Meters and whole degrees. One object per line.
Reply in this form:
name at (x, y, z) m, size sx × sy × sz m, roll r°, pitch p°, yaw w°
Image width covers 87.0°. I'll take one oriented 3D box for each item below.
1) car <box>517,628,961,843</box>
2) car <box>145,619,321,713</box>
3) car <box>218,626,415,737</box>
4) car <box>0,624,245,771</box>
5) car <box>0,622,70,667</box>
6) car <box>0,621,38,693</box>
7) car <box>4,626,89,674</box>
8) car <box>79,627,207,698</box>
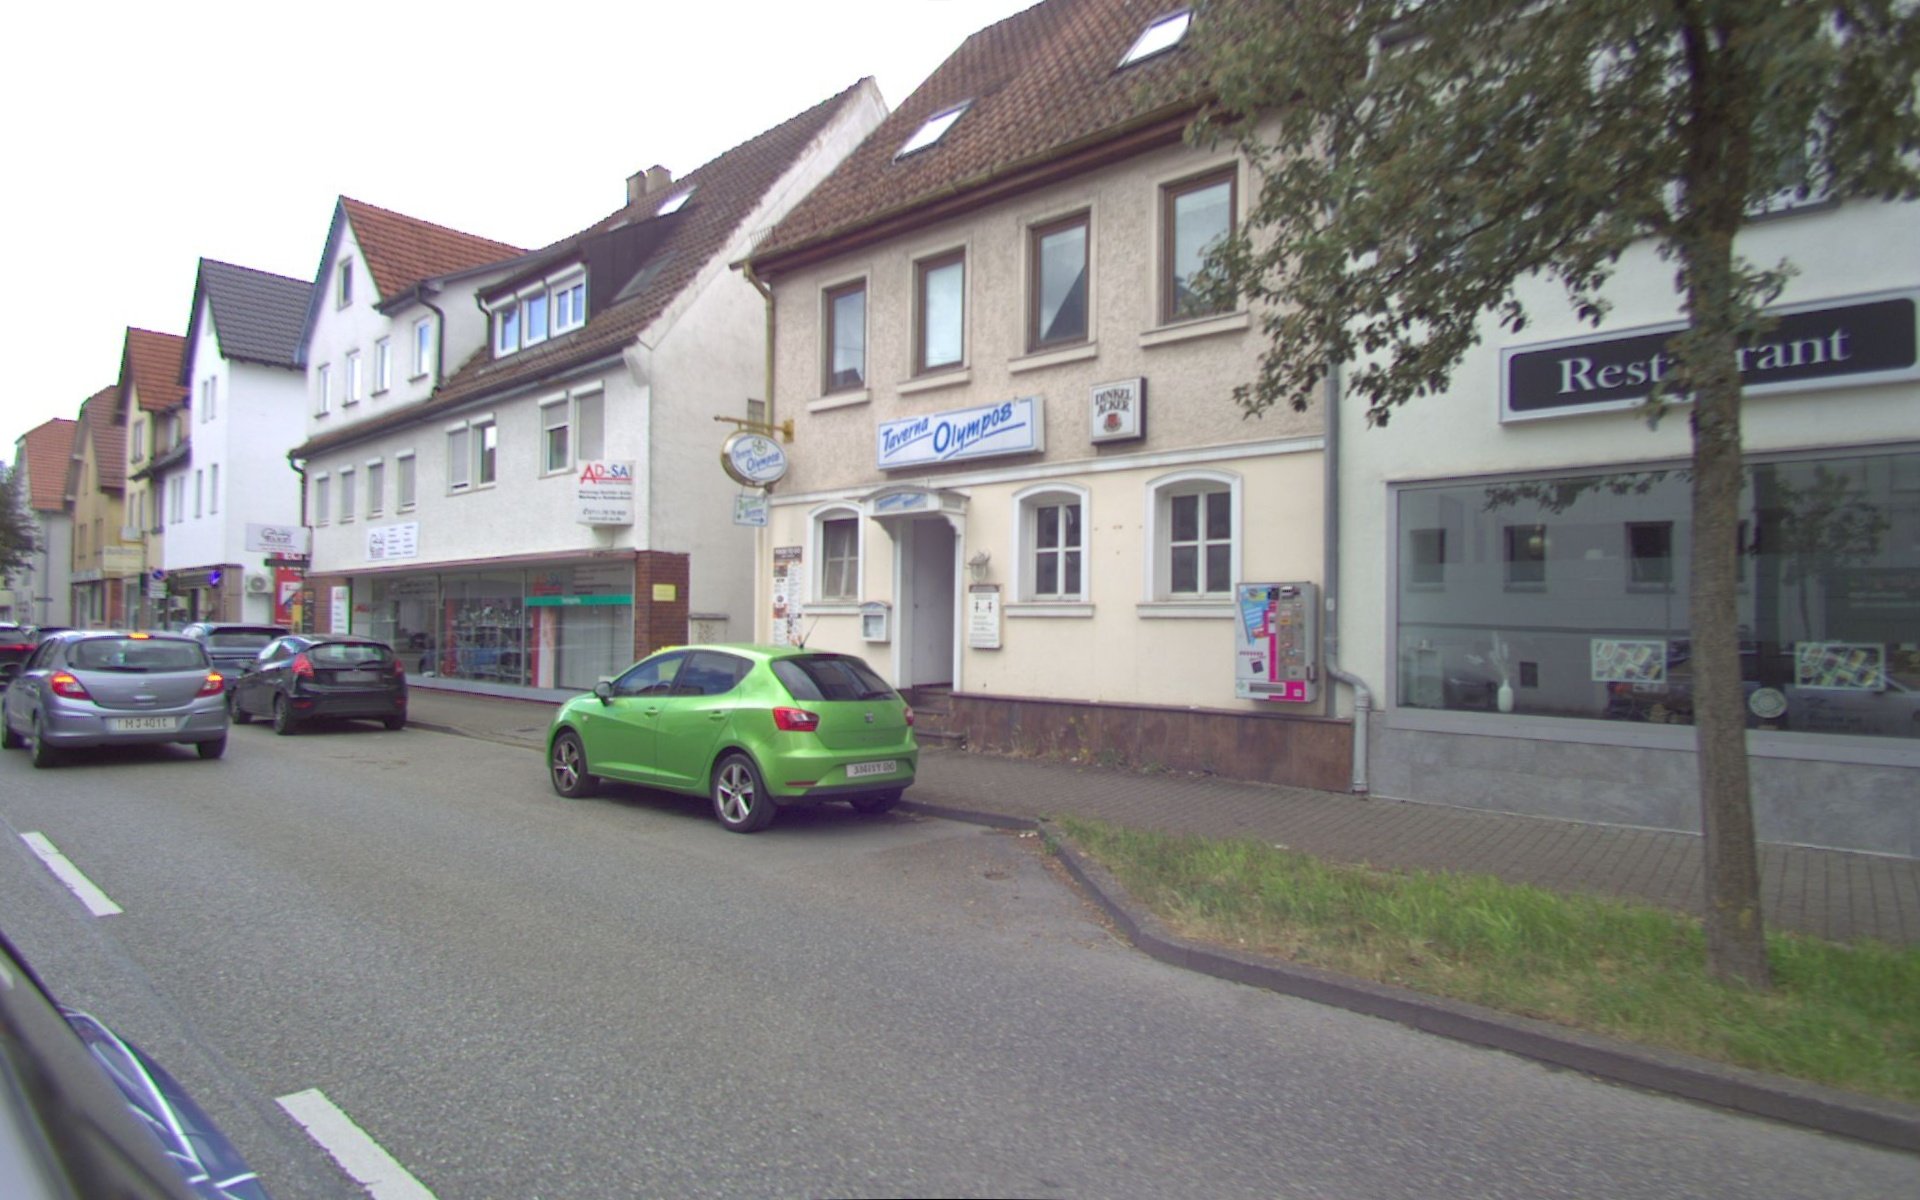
car at (-2.076, 1.008, 8.912) m, size 4.016 × 1.458 × 1.665 m, roll -1°, pitch -4°, yaw 39°
car at (-14.050, 1.214, 19.465) m, size 4.303 × 1.611 × 1.784 m, roll -1°, pitch -4°, yaw 42°
car at (-10.152, 1.211, 15.875) m, size 3.811 × 1.519 × 1.565 m, roll -1°, pitch -4°, yaw 42°
car at (-10.181, 1.042, 12.017) m, size 4.015 × 1.458 × 1.666 m, roll -1°, pitch -4°, yaw 39°
car at (-34.954, 1.651, 38.044) m, size 4.112 × 1.578 × 1.691 m, roll -1°, pitch -4°, yaw 42°
car at (-22.996, 1.277, 23.522) m, size 4.190 × 1.591 × 1.776 m, roll -1°, pitch -4°, yaw 41°
car at (-30.304, 1.640, 33.543) m, size 3.590 × 1.505 × 1.664 m, roll -1°, pitch -4°, yaw 42°
car at (-19.002, 1.410, 23.496) m, size 3.774 × 1.511 × 1.664 m, roll -1°, pitch -4°, yaw 42°
